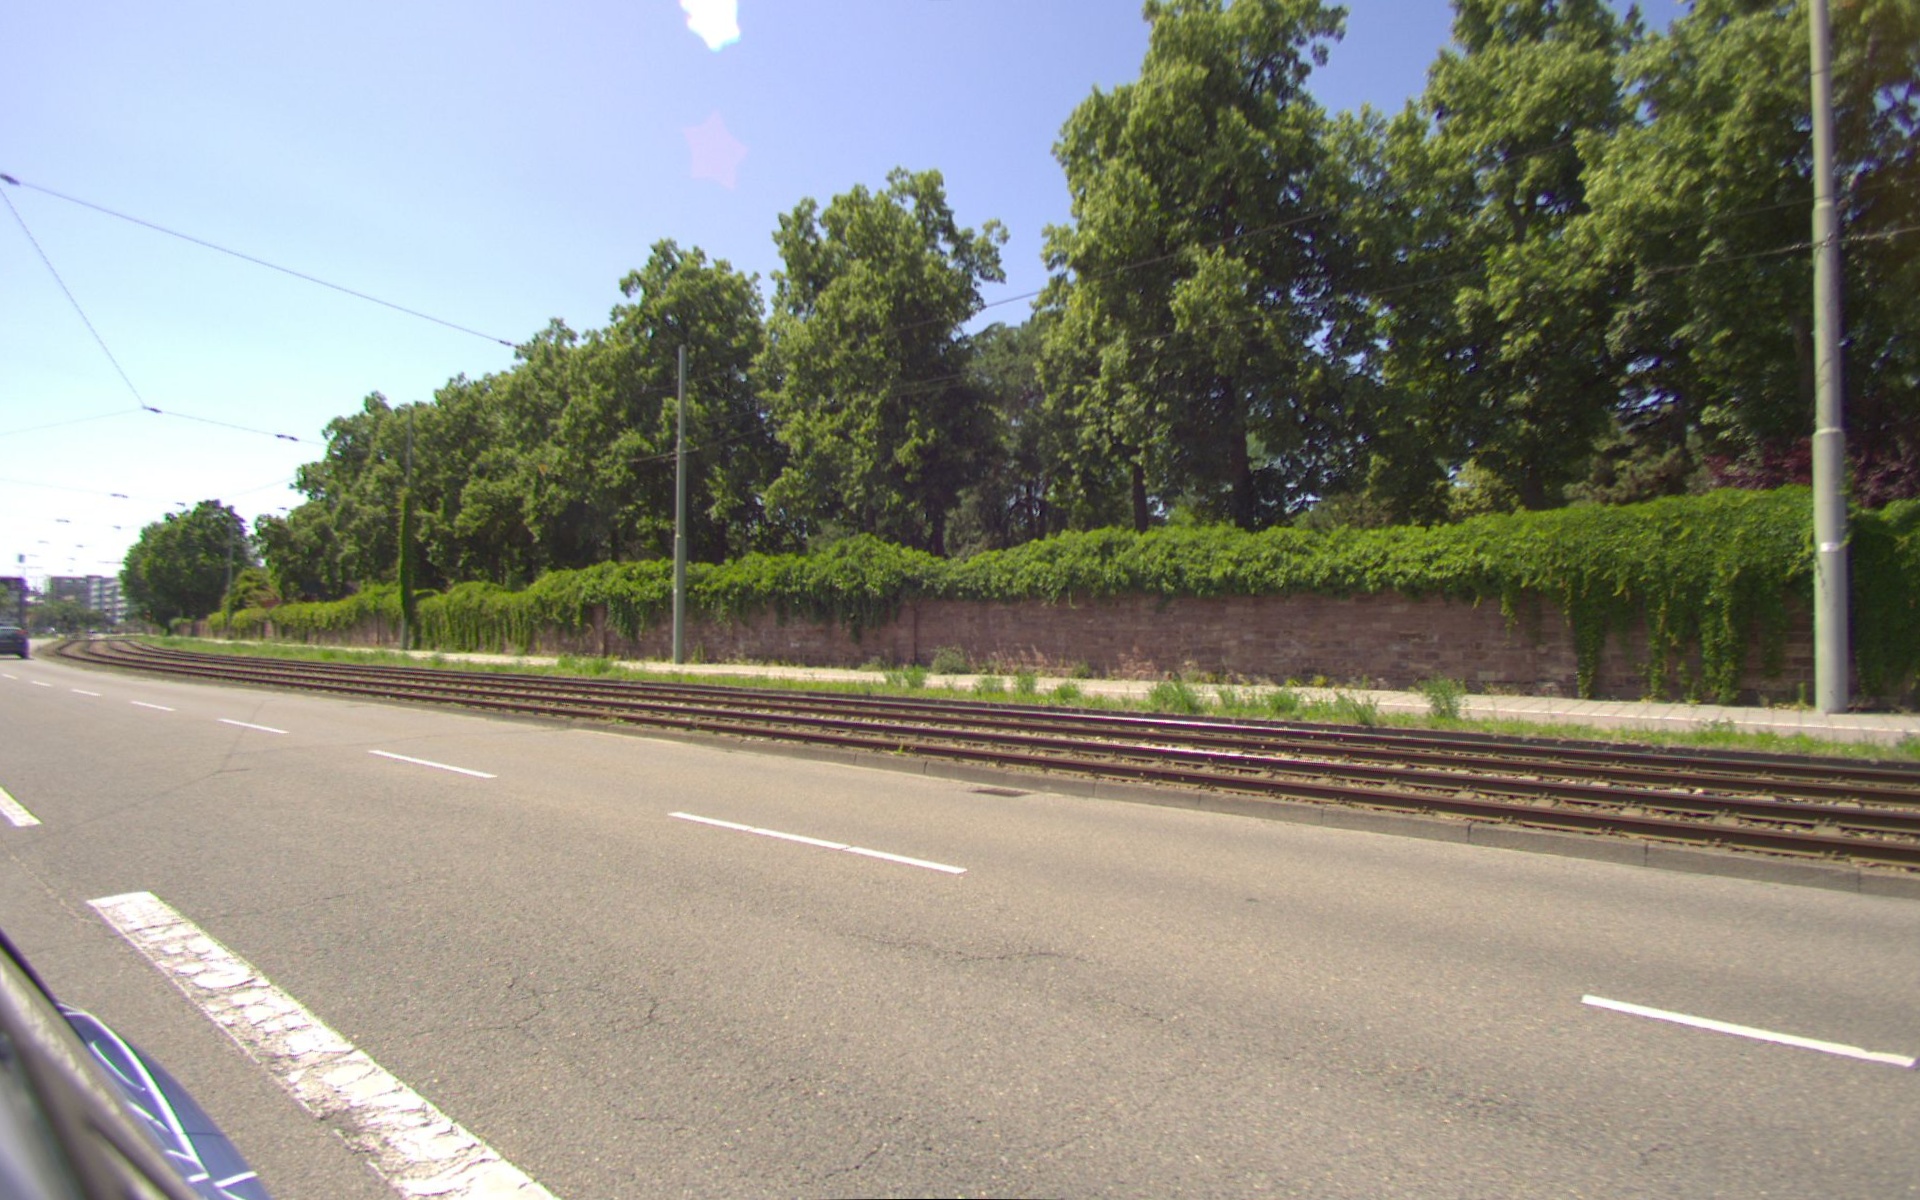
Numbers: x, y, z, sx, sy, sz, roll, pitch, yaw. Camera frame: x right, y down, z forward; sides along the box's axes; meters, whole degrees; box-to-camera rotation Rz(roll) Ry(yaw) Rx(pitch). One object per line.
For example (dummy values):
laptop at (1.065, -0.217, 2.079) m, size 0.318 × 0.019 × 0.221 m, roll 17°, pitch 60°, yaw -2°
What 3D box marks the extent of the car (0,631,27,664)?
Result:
car at (-44.426, 2.193, 46.670) m, size 3.999 × 1.480 × 1.674 m, roll -2°, pitch -2°, yaw 42°
